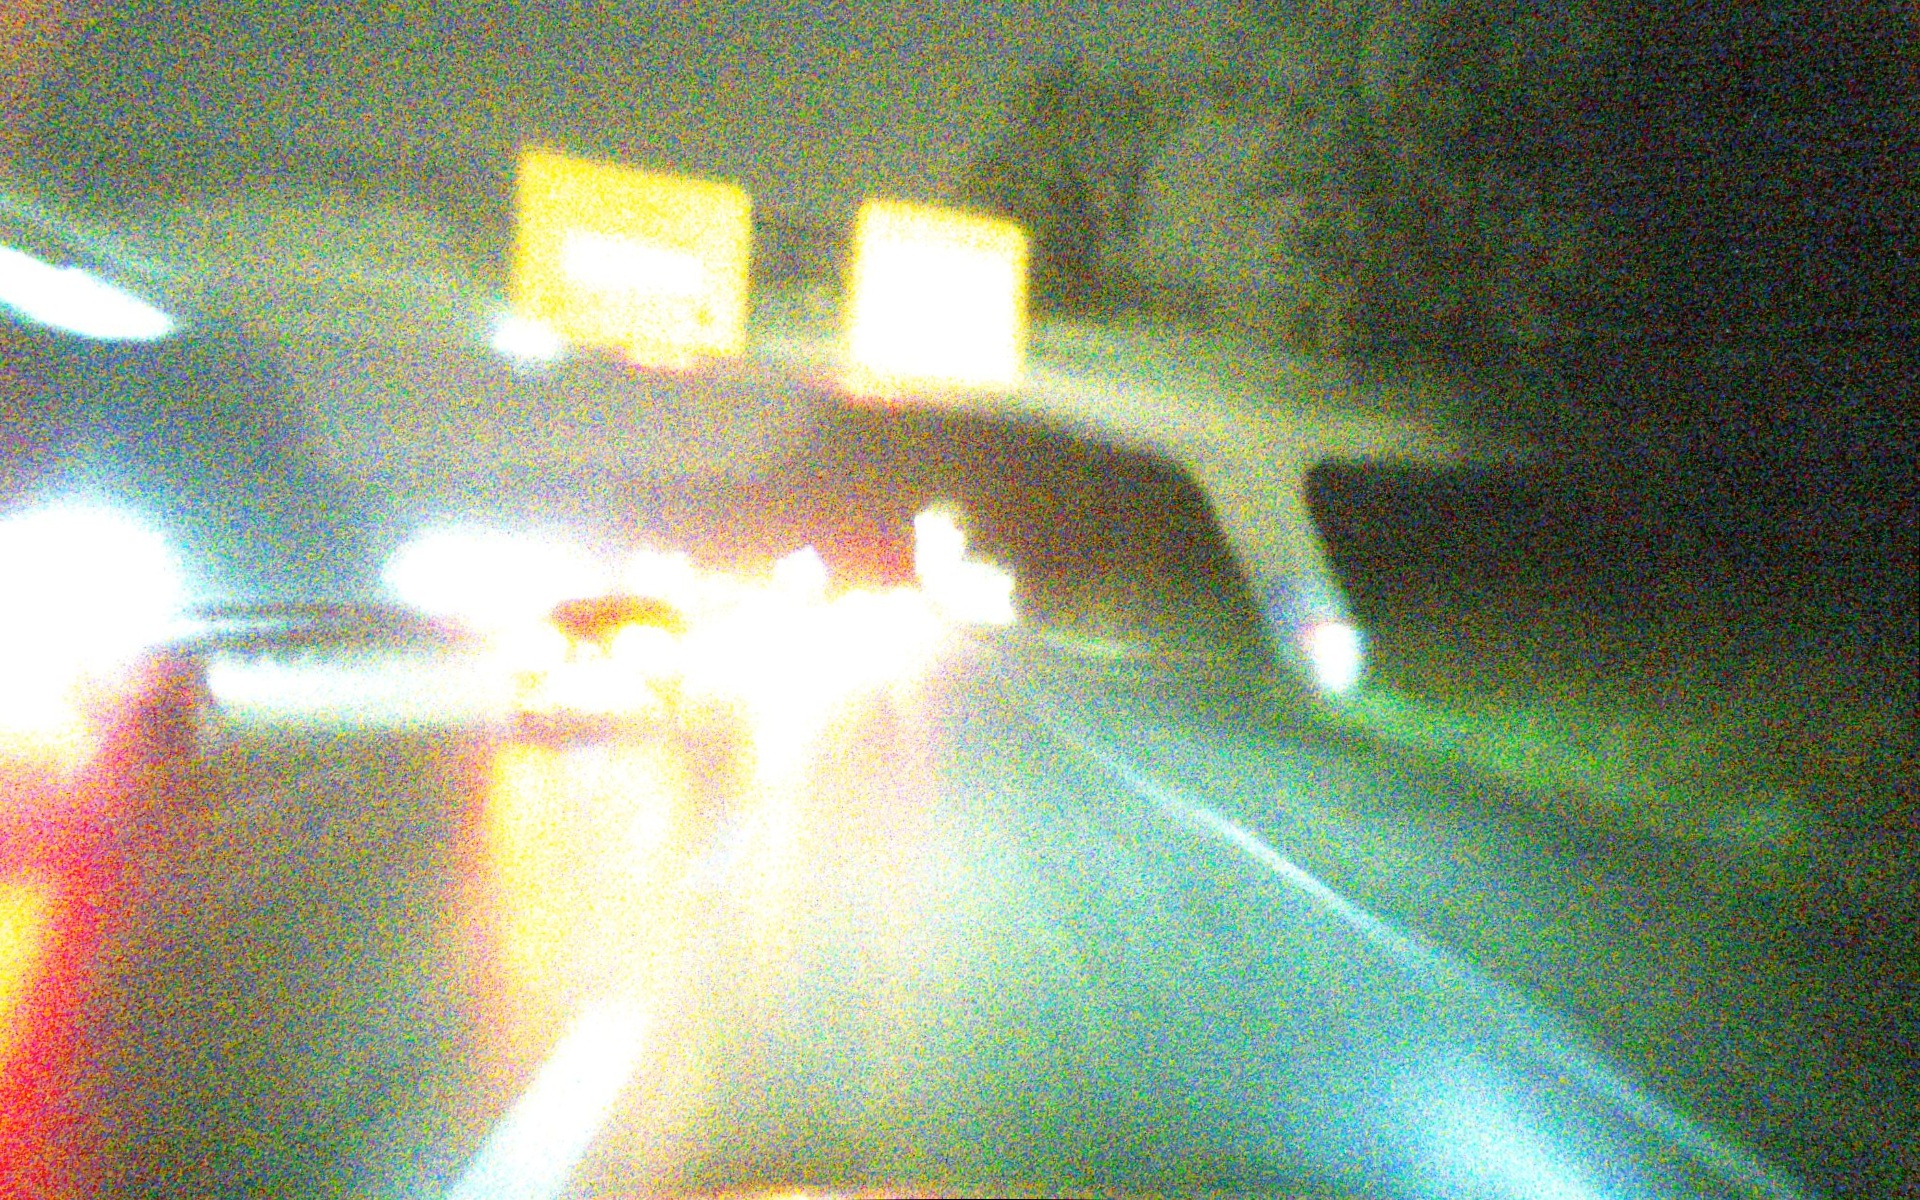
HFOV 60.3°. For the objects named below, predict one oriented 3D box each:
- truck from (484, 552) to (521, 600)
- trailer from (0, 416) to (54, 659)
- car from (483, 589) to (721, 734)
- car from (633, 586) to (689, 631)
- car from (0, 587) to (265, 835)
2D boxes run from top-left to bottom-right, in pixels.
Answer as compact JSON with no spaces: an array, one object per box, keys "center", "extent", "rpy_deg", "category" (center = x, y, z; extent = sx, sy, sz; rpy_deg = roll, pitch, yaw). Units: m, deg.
[{"center":[-35.297,-1.791,127.710],"extent":[2.561,3.518,4.623],"rpy_deg":[2,-1,-14],"category":"truck"},{"center":[-18.937,-1.262,26.524],"extent":[2.524,4.535,12.482],"rpy_deg":[2,-1,-4],"category":"trailer"},{"center":[-3.910,0.657,18.771],"extent":[1.923,1.405,4.047],"rpy_deg":[2,-1,-2],"category":"car"},{"center":[-11.074,0.334,61.454],"extent":[1.857,1.578,3.993],"rpy_deg":[1,-1,-8],"category":"car"},{"center":[-6.991,0.686,12.369],"extent":[1.733,1.543,4.911],"rpy_deg":[1,0,-3],"category":"car"}]
